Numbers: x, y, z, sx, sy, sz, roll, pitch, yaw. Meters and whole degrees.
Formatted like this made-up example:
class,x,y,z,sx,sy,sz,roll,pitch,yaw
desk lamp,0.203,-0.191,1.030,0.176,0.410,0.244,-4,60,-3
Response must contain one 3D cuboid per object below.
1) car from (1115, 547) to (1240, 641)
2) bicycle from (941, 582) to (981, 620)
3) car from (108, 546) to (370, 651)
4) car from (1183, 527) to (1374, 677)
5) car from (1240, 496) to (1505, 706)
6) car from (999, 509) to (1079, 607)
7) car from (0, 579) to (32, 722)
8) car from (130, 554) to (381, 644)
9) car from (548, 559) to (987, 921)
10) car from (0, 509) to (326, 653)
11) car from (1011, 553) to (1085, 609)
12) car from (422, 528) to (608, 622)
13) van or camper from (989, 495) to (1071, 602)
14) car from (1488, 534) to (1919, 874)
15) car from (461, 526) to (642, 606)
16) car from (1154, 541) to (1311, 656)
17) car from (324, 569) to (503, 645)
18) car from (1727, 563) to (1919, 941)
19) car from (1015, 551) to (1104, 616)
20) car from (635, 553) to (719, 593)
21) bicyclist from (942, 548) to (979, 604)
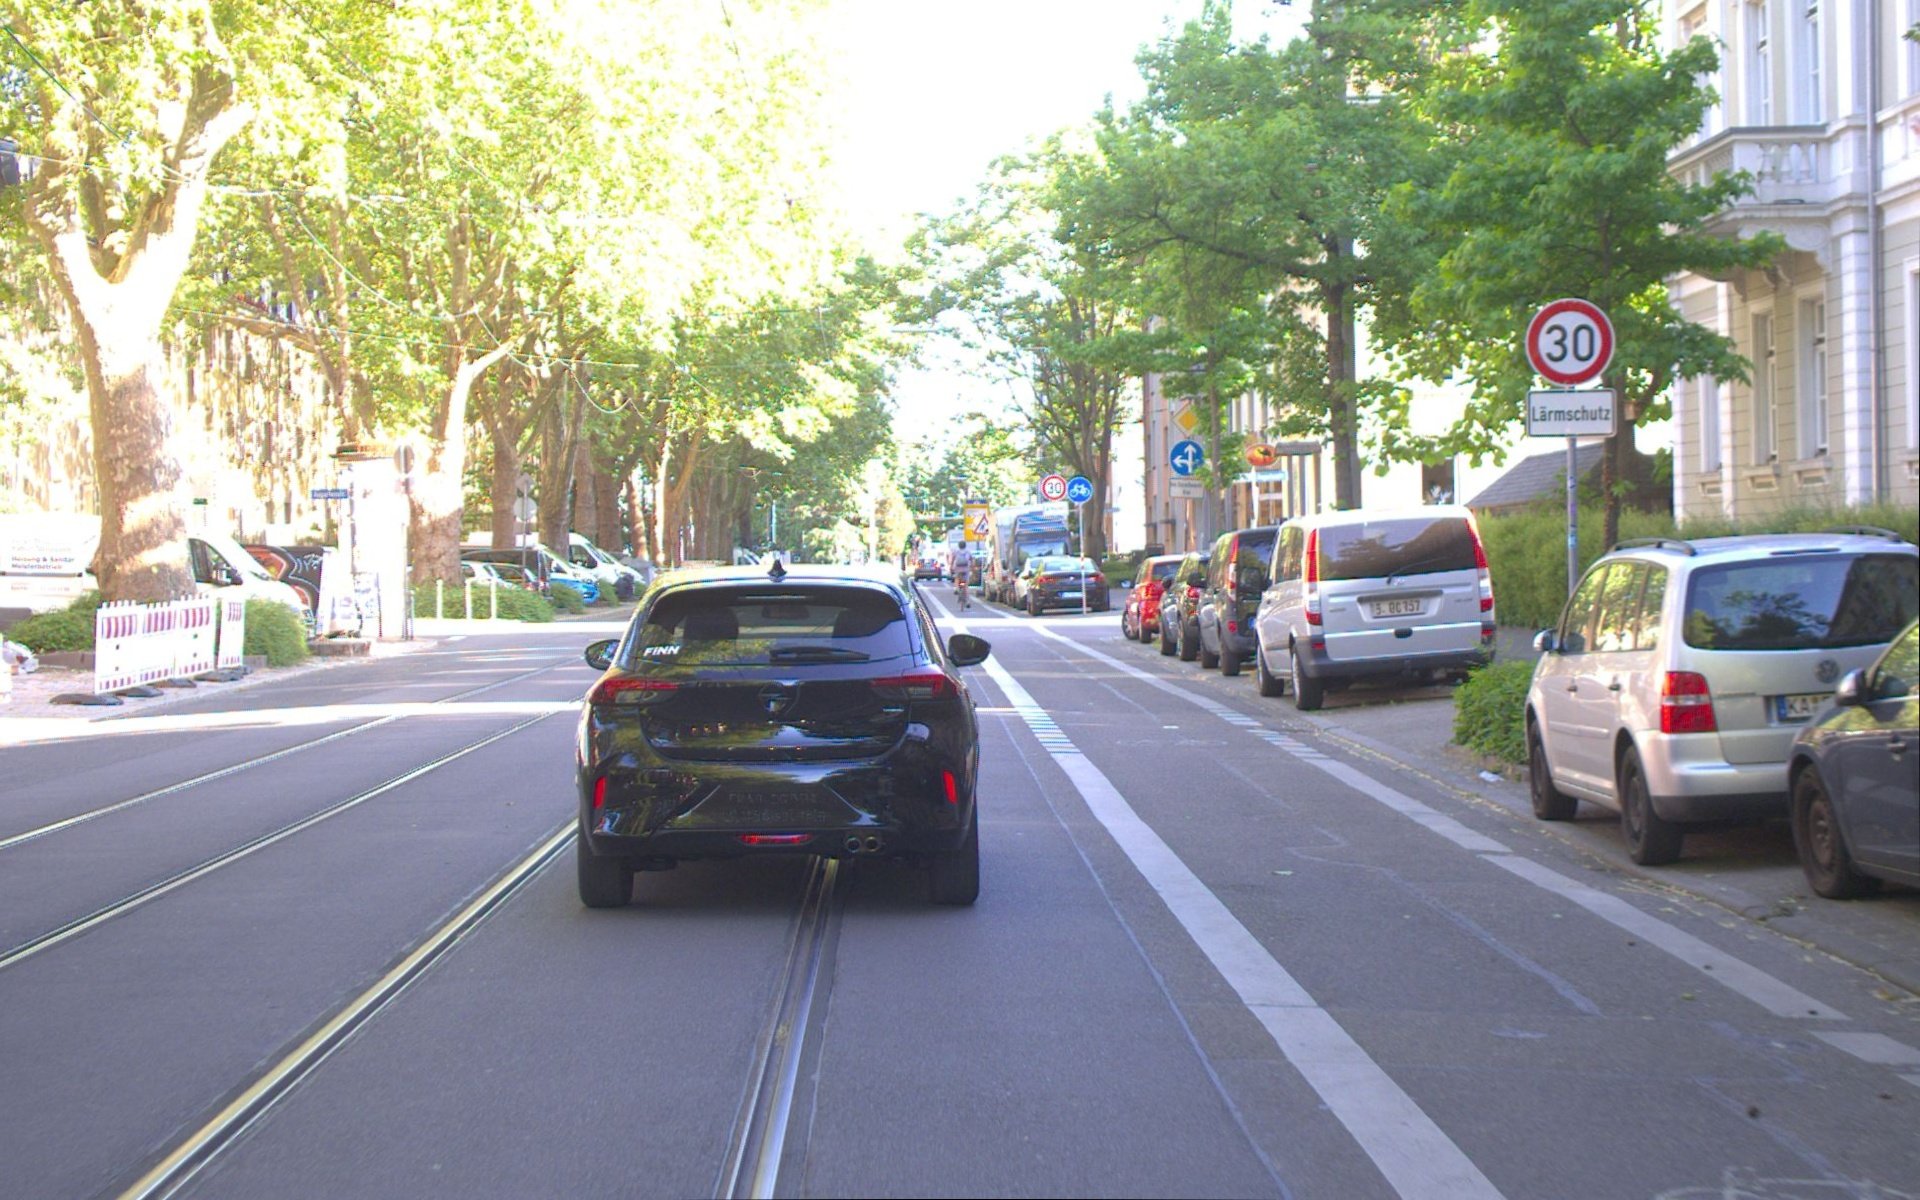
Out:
class,x,y,z,sx,sy,sz,roll,pitch,yaw
car,3.642,-0.121,58.233,1.702,1.418,3.978,-4,1,-1
bicycle,0.011,0.022,92.381,0.968,0.995,2.583,0,1,-2
car,-12.742,-0.042,60.941,4.299,1.795,1.926,0,1,-3
car,3.986,-0.004,43.689,1.885,1.760,4.678,-1,1,-1
car,4.051,-0.016,34.549,1.884,1.845,4.967,-3,1,-1
car,2.317,-1.252,101.583,2.085,2.762,4.698,-2,1,-1
car,-11.835,0.513,35.563,3.987,1.460,1.854,0,1,-1
car,-12.979,-0.030,63.560,4.299,1.601,1.926,0,1,-3
car,-0.798,0.542,15.798,1.763,1.455,3.950,0,1,-1
car,-12.819,-0.310,55.023,5.032,2.251,2.086,0,1,-4
car,2.395,-0.513,94.386,1.803,1.429,4.000,-2,0,-1
car,-13.019,-0.746,100.862,5.036,2.366,2.081,-4,1,0
van or camper,2.180,-1.596,108.144,2.254,3.205,5.531,-2,1,-1
car,4.239,0.475,18.855,1.884,1.562,4.242,-3,1,-1
car,-13.468,-1.122,113.572,5.639,2.584,2.196,0,0,3
car,3.874,-0.038,49.464,1.712,1.509,4.037,-3,1,-2
car,-13.774,0.178,86.820,4.299,1.588,1.783,-4,1,-8
car,4.718,0.573,14.056,1.884,1.462,4.594,-3,1,-2
car,2.409,-0.422,84.138,1.884,1.429,4.530,-3,1,-1
car,-14.524,-1.395,176.392,3.988,2.007,2.000,0,0,6
bicyclist,0.005,-0.648,92.358,0.958,1.494,1.094,0,0,-2
